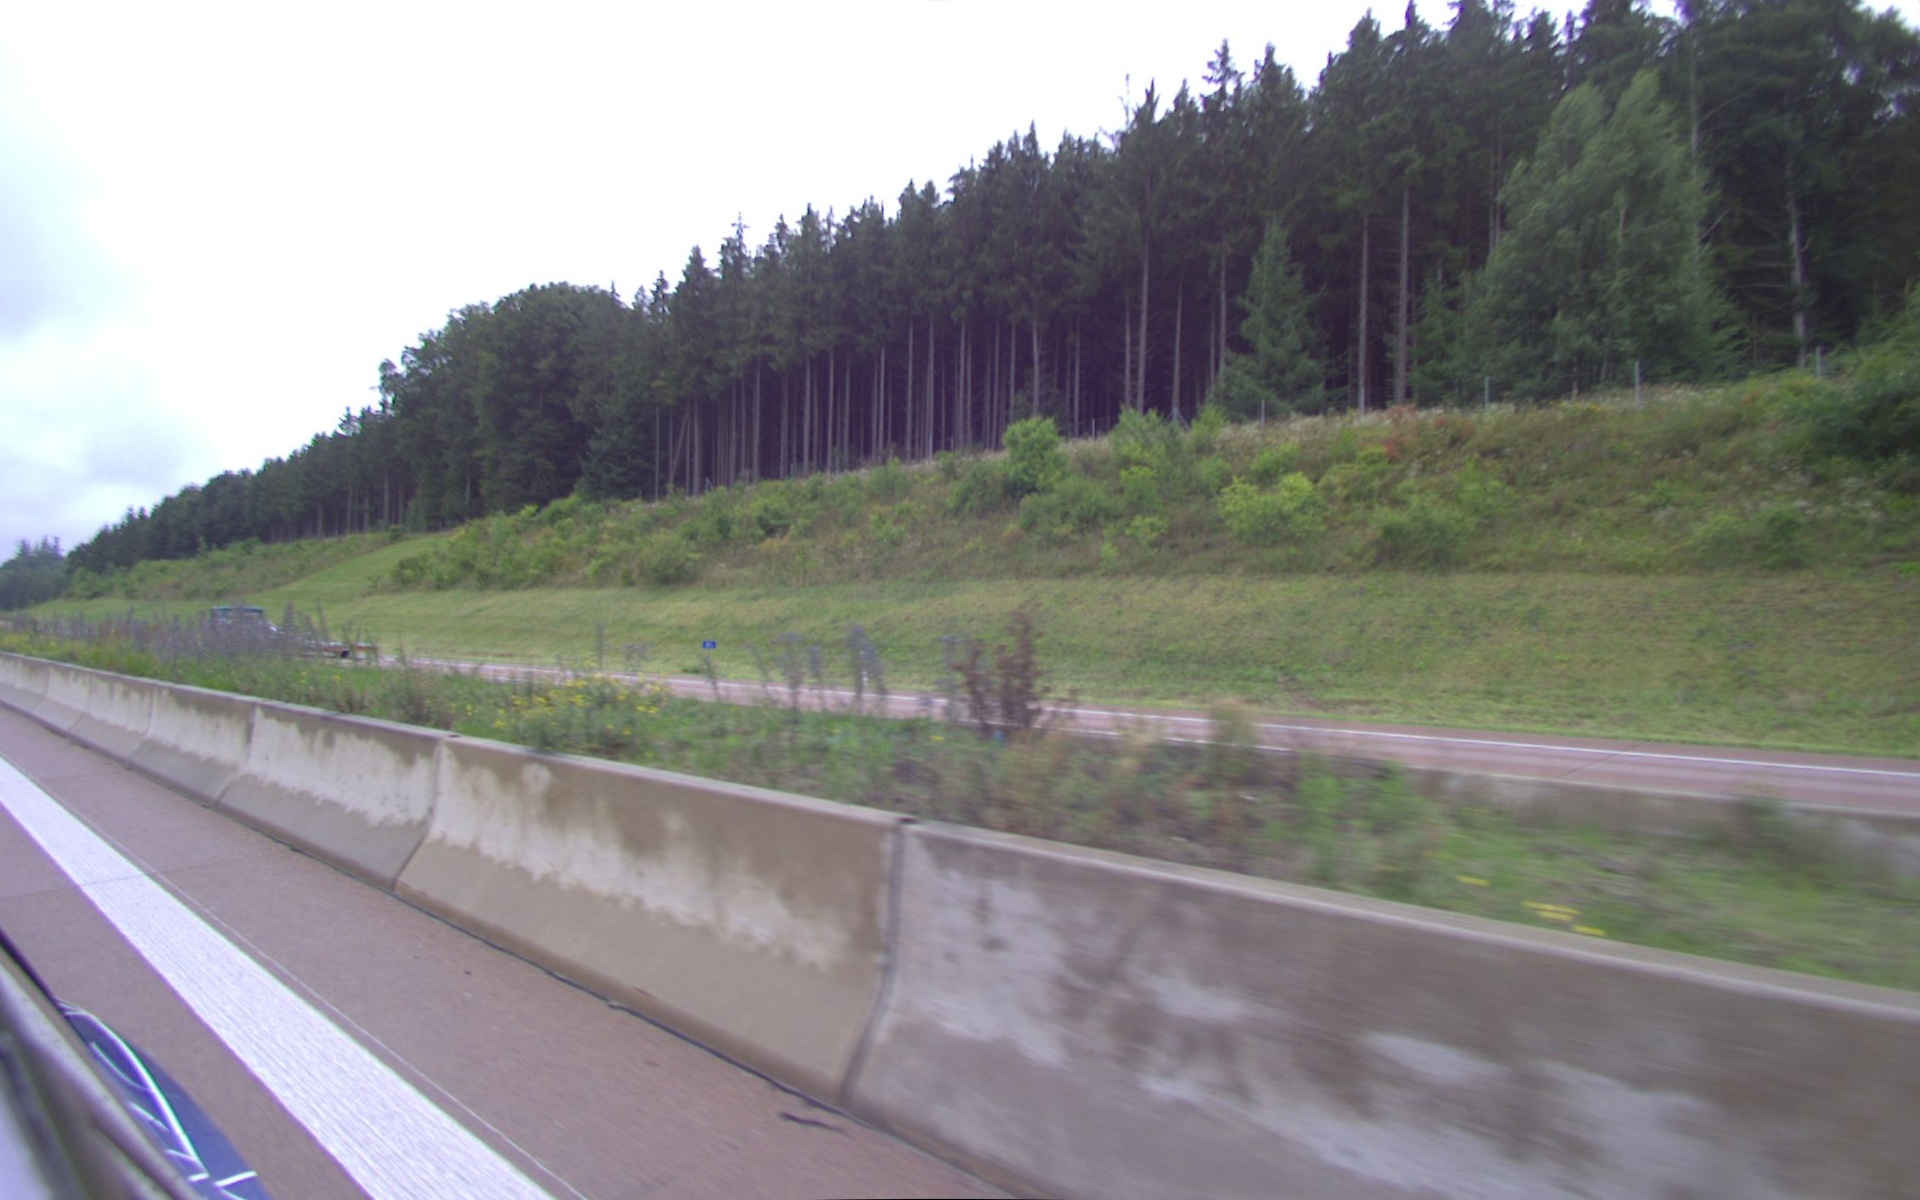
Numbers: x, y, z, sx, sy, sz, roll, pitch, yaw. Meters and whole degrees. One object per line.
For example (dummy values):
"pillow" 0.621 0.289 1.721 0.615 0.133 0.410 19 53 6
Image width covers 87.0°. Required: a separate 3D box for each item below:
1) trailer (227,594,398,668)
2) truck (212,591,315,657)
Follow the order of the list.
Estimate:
"trailer" -30.577 1.249 47.320 14.429 3.020 2.809 0 1 41
"truck" -35.832 1.145 52.005 6.492 3.196 2.834 0 1 41
